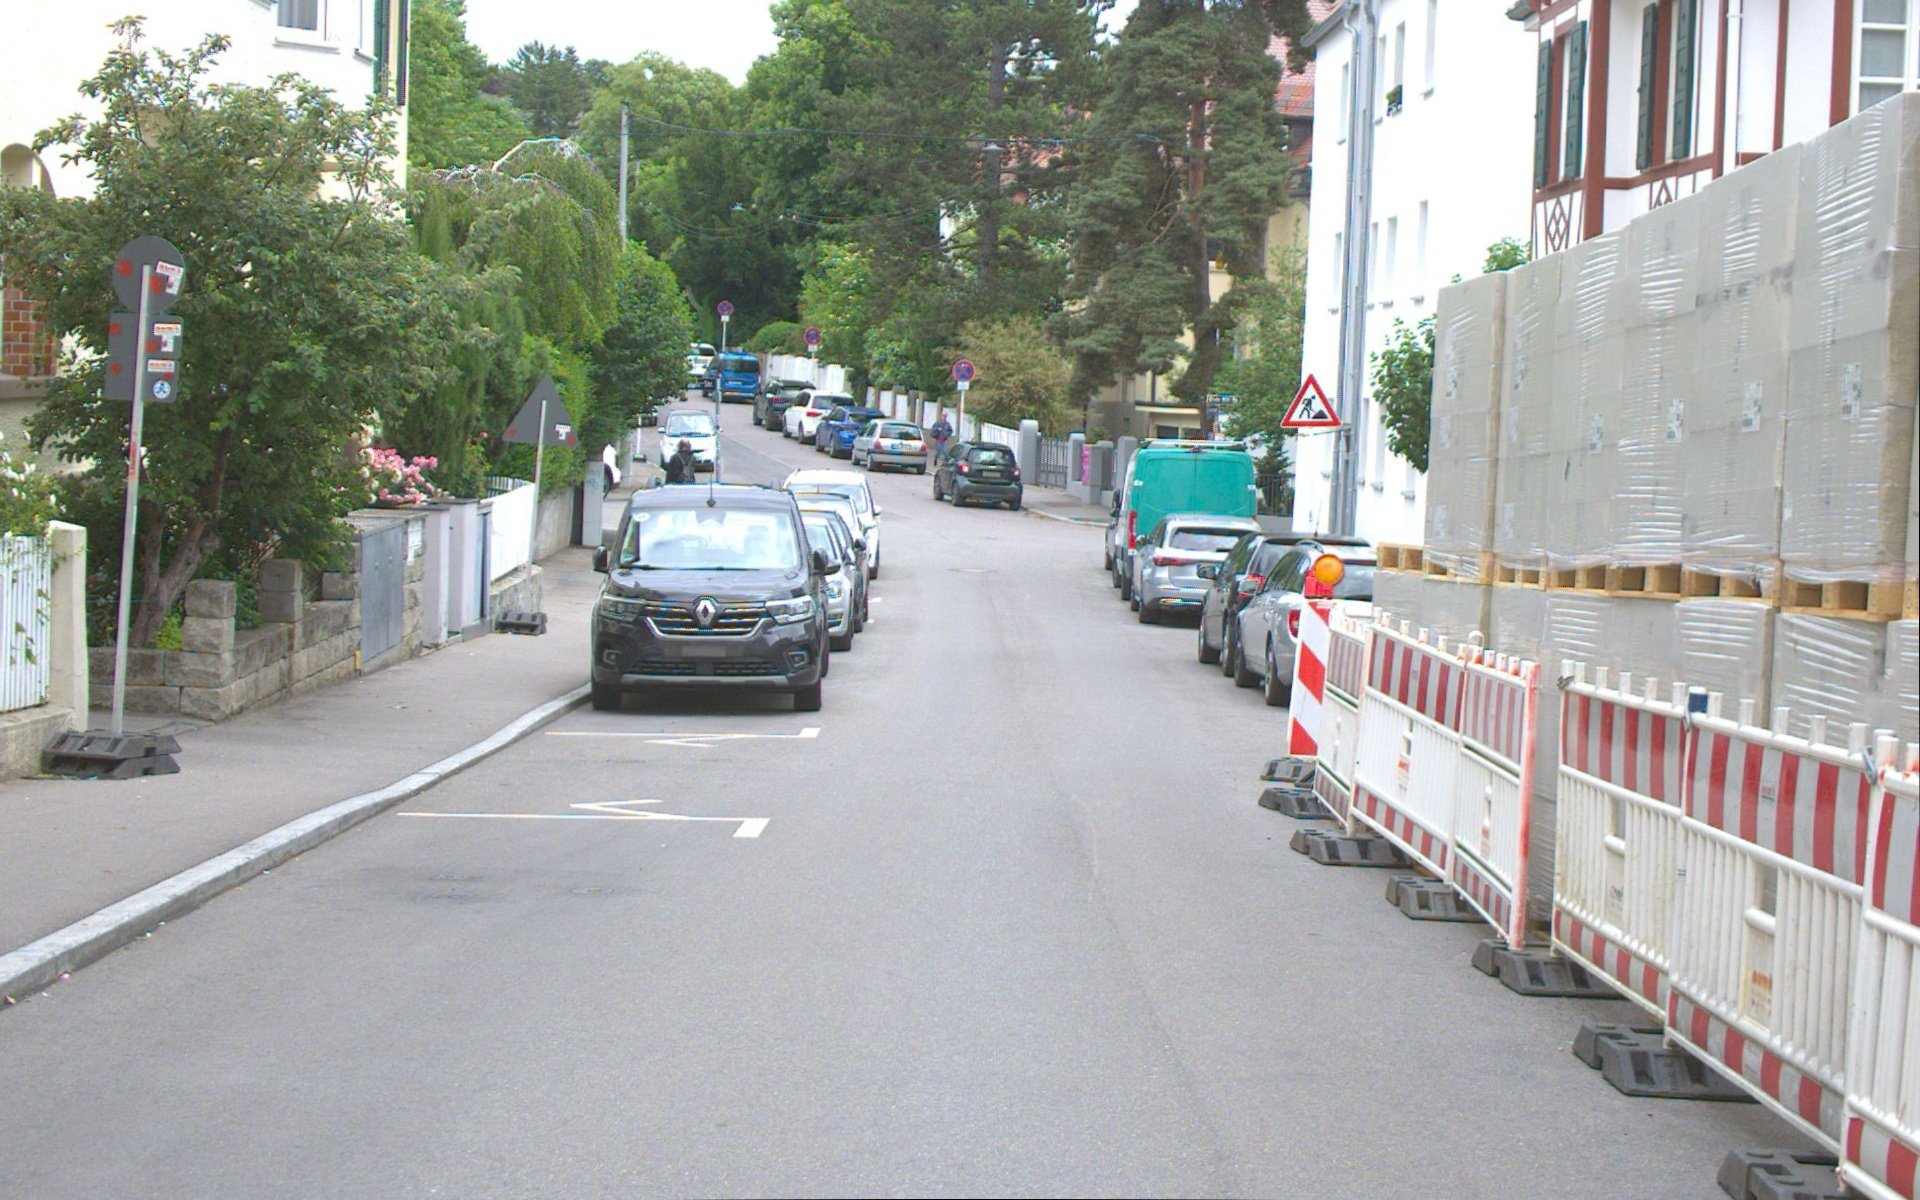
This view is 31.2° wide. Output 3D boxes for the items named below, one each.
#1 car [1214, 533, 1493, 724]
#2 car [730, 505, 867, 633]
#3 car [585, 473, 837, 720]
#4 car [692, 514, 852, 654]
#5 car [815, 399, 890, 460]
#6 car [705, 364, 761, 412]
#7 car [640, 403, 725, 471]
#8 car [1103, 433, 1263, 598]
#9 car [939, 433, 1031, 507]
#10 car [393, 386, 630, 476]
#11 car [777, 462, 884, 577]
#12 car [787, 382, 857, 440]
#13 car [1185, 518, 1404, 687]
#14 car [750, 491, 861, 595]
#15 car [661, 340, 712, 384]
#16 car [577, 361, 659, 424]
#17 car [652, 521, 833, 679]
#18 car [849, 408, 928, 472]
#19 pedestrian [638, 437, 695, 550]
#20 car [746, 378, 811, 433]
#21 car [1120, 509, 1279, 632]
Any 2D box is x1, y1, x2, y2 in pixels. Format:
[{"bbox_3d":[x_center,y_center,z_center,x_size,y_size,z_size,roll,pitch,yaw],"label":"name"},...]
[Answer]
[{"bbox_3d":[3.460,0.198,31.030,1.818,1.437,4.452,3,2,-2],"label":"car"},{"bbox_3d":[-1.978,-0.423,42.949,1.596,1.473,3.992,1,2,-1],"label":"car"},{"bbox_3d":[-2.002,-0.073,28.030,1.844,1.809,4.545,1,1,-3],"label":"car"},{"bbox_3d":[-2.048,-0.219,38.307,1.642,1.412,3.984,1,2,-1],"label":"car"},{"bbox_3d":[-3.142,-4.945,99.686,1.634,1.478,3.532,3,5,-10],"label":"car"},{"bbox_3d":[-8.323,-7.777,125.980,1.634,1.532,3.532,3,5,-10],"label":"car"},{"bbox_3d":[-7.495,-4.416,92.547,1.672,1.651,3.865,0,5,-13],"label":"car"},{"bbox_3d":[3.394,-1.356,53.102,1.980,2.354,4.278,2,3,-2],"label":"car"},{"bbox_3d":[0.574,-3.169,83.346,1.634,1.478,3.532,3,5,-8],"label":"car"},{"bbox_3d":[-9.537,-3.588,73.325,1.999,1.634,4.801,5,3,42],"label":"car"},{"bbox_3d":[-2.130,-1.367,57.136,1.672,1.651,3.864,1,5,-1],"label":"car"},{"bbox_3d":[-4.249,-5.824,105.742,1.634,1.532,3.532,3,5,-10],"label":"car"},{"bbox_3d":[3.387,-0.019,35.447,1.689,1.514,3.881,3,2,-2],"label":"car"},{"bbox_3d":[-2.335,-0.904,52.719,1.596,1.408,3.663,1,3,-1],"label":"car"},{"bbox_3d":[-10.850,-9.439,136.072,1.634,1.532,3.532,3,5,-10],"label":"car"},{"bbox_3d":[-11.074,-6.705,111.032,1.903,1.870,4.598,0,5,-15],"label":"car"},{"bbox_3d":[-2.093,-0.043,33.747,1.642,1.383,3.860,1,2,-2],"label":"car"},{"bbox_3d":[-1.997,-4.436,95.071,1.634,1.478,3.532,3,5,-10],"label":"car"},{"bbox_3d":[-5.185,-1.884,60.733,0.791,1.926,0.919,3,2,2],"label":"pedestrian"},{"bbox_3d":[-5.926,-6.345,111.834,1.634,1.532,3.532,3,5,-10],"label":"car"},{"bbox_3d":[3.206,-0.433,46.632,1.725,1.443,3.881,2,3,-2],"label":"car"}]
